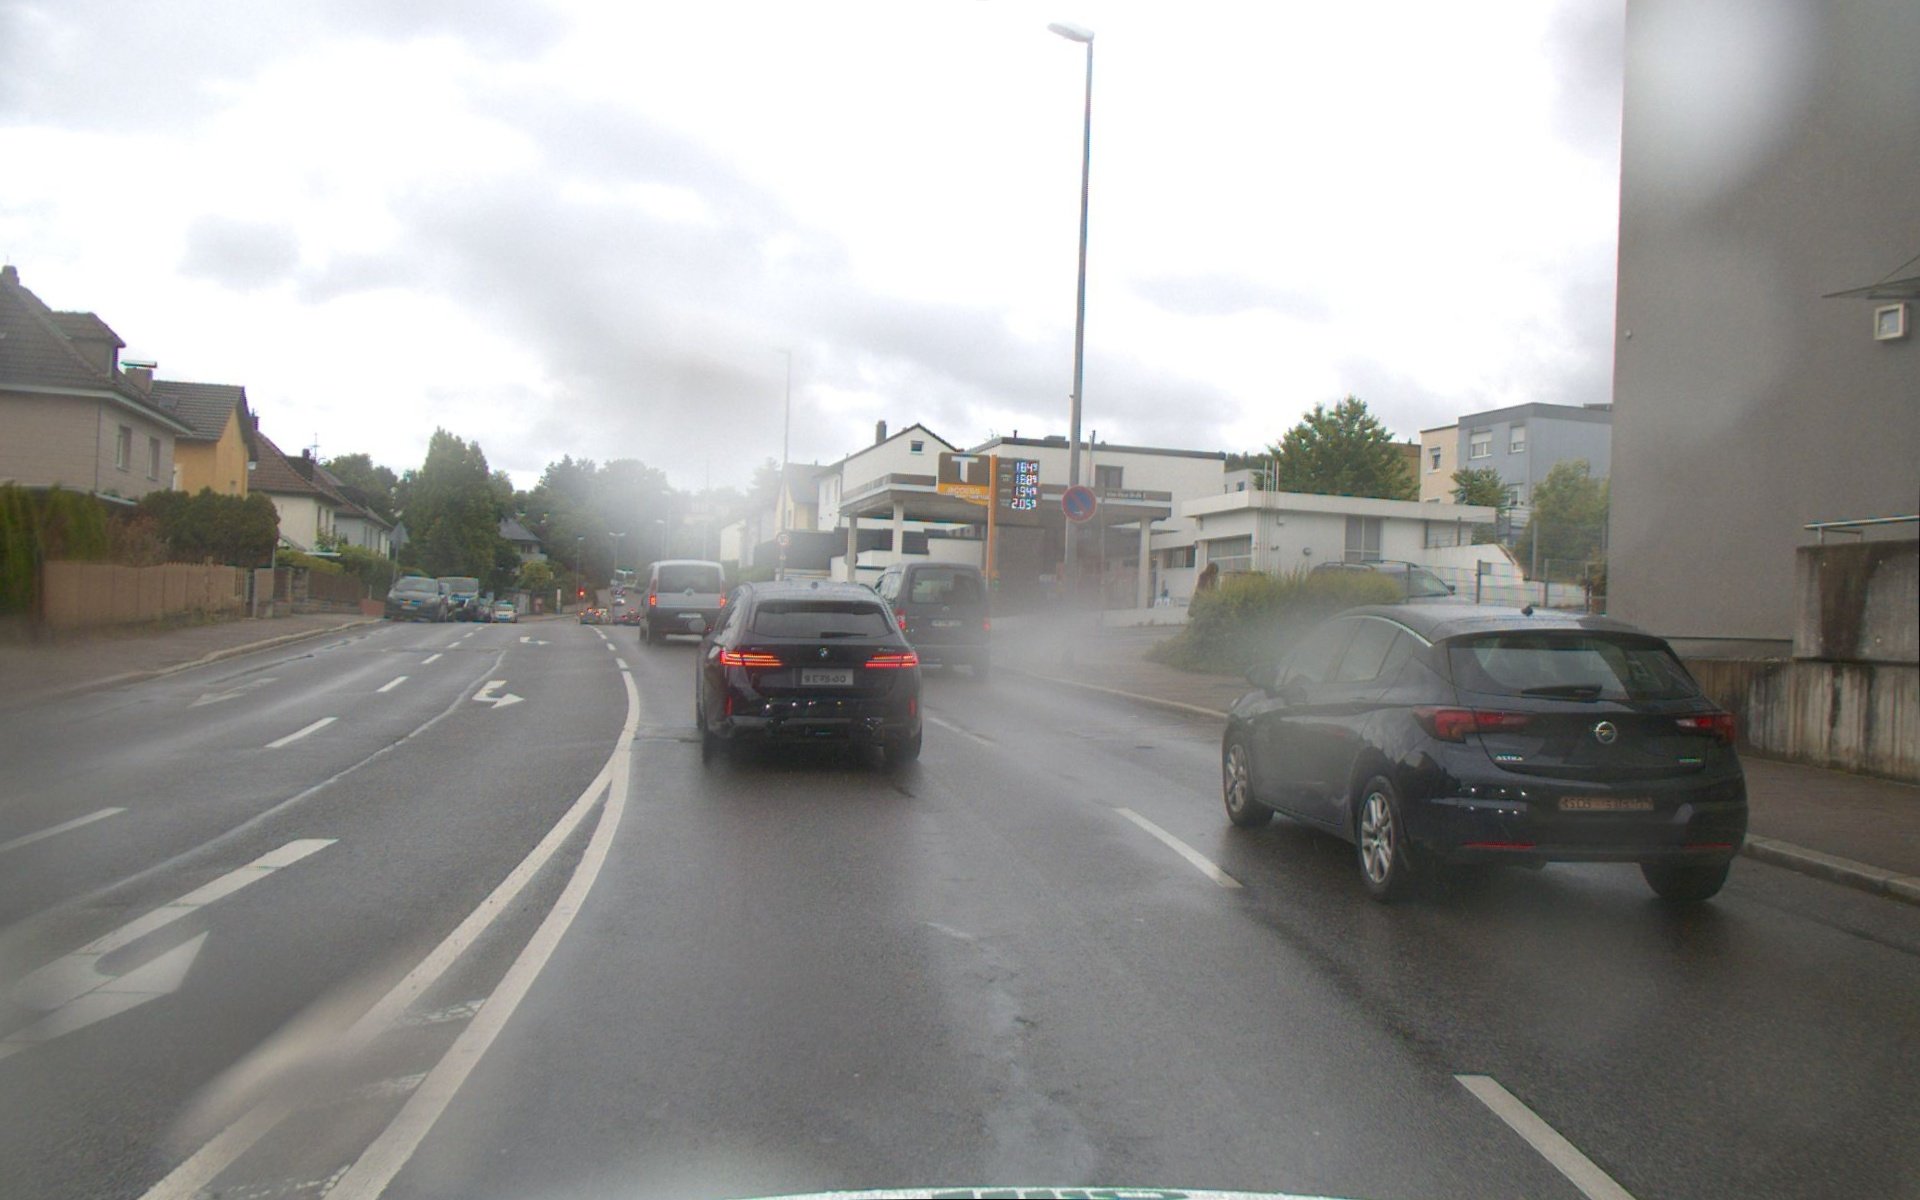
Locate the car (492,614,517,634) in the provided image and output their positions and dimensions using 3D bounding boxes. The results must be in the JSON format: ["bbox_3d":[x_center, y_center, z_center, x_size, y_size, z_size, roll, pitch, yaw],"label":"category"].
[{"bbox_3d":[-38.296,2.051,139.112,1.852,1.613,3.986,3,-2,-13],"label":"car"}]

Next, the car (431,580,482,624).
[{"bbox_3d":[-19.328,0.124,63.620,1.721,1.543,4.508,3,-2,-16],"label":"car"}]

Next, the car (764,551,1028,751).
[{"bbox_3d":[-0.726,0.463,15.119,1.956,1.510,3.992,2,-2,-8],"label":"car"}]

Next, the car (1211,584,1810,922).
[{"bbox_3d":[2.809,0.686,9.462,1.722,1.474,3.995,2,0,-6],"label":"car"}]

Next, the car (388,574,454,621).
[{"bbox_3d":[-18.465,-0.053,56.788,1.720,1.465,4.116,3,-2,-13],"label":"car"}]

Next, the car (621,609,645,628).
[{"bbox_3d":[-31.587,1.805,159.642,1.961,1.771,3.982,3,-2,-16],"label":"car"}]

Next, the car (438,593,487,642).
[{"bbox_3d":[-21.951,0.793,73.171,1.881,2.038,5.065,3,-2,-16],"label":"car"}]

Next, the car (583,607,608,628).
[{"bbox_3d":[-32.940,1.617,149.549,1.957,1.771,3.990,3,-2,-10],"label":"car"}]

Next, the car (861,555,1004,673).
[{"bbox_3d":[-0.549,0.270,28.257,1.805,1.798,3.990,3,-2,-10],"label":"car"}]

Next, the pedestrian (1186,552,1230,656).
[{"bbox_3d":[4.972,0.092,33.144,0.701,2.049,0.614,2,-2,-5],"label":"pedestrian"}]

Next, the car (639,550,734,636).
[{"bbox_3d":[-6.309,-0.100,37.837,1.958,1.768,3.989,3,-2,-11],"label":"car"}]

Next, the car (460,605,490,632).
[{"bbox_3d":[-27.535,1.081,93.935,1.526,1.456,3.997,3,-2,-16],"label":"car"}]
